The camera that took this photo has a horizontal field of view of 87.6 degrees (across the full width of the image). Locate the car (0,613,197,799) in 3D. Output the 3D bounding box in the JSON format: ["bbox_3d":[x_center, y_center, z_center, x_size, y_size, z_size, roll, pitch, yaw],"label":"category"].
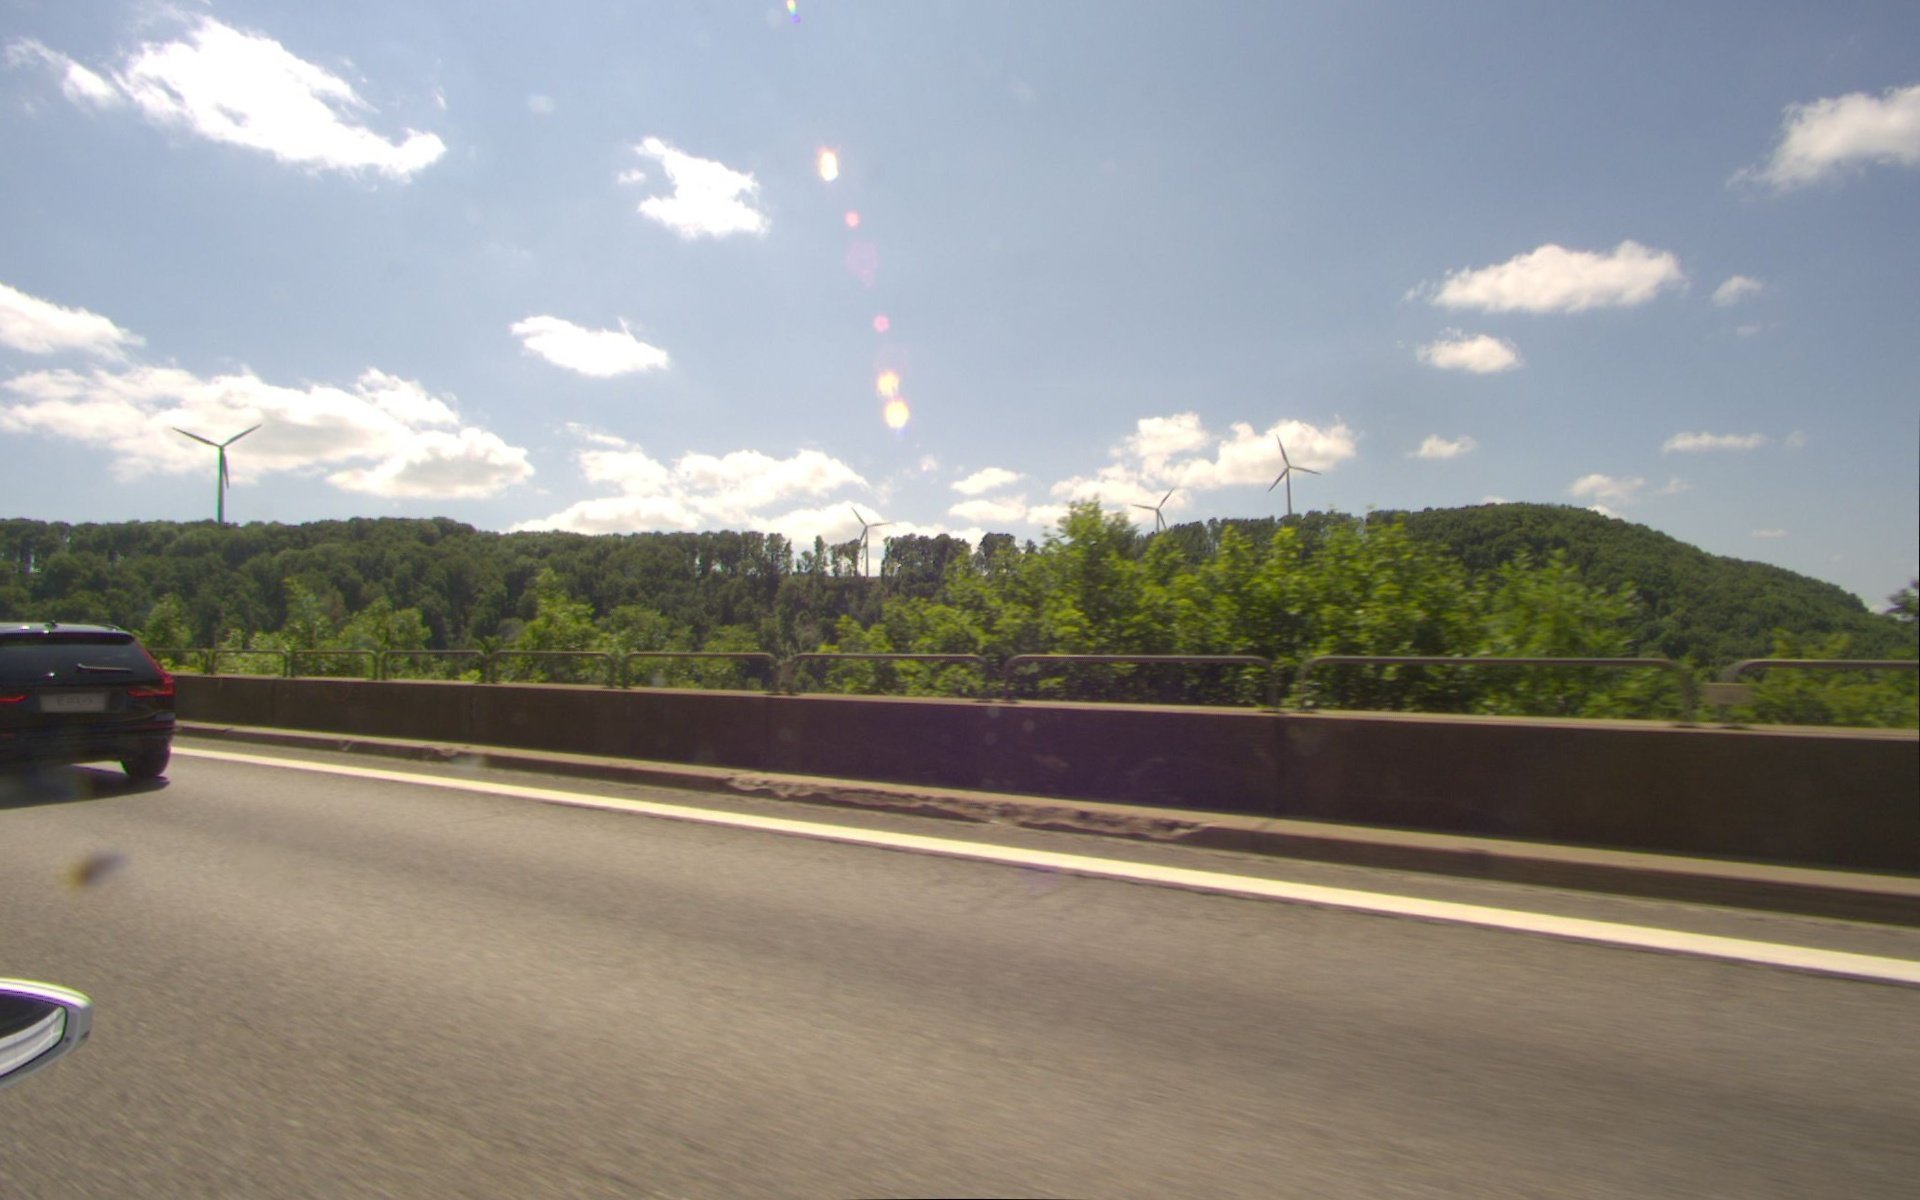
[{"bbox_3d":[-10.178,0.989,10.612,4.595,1.654,1.832,-1,-2,32],"label":"car"}]
